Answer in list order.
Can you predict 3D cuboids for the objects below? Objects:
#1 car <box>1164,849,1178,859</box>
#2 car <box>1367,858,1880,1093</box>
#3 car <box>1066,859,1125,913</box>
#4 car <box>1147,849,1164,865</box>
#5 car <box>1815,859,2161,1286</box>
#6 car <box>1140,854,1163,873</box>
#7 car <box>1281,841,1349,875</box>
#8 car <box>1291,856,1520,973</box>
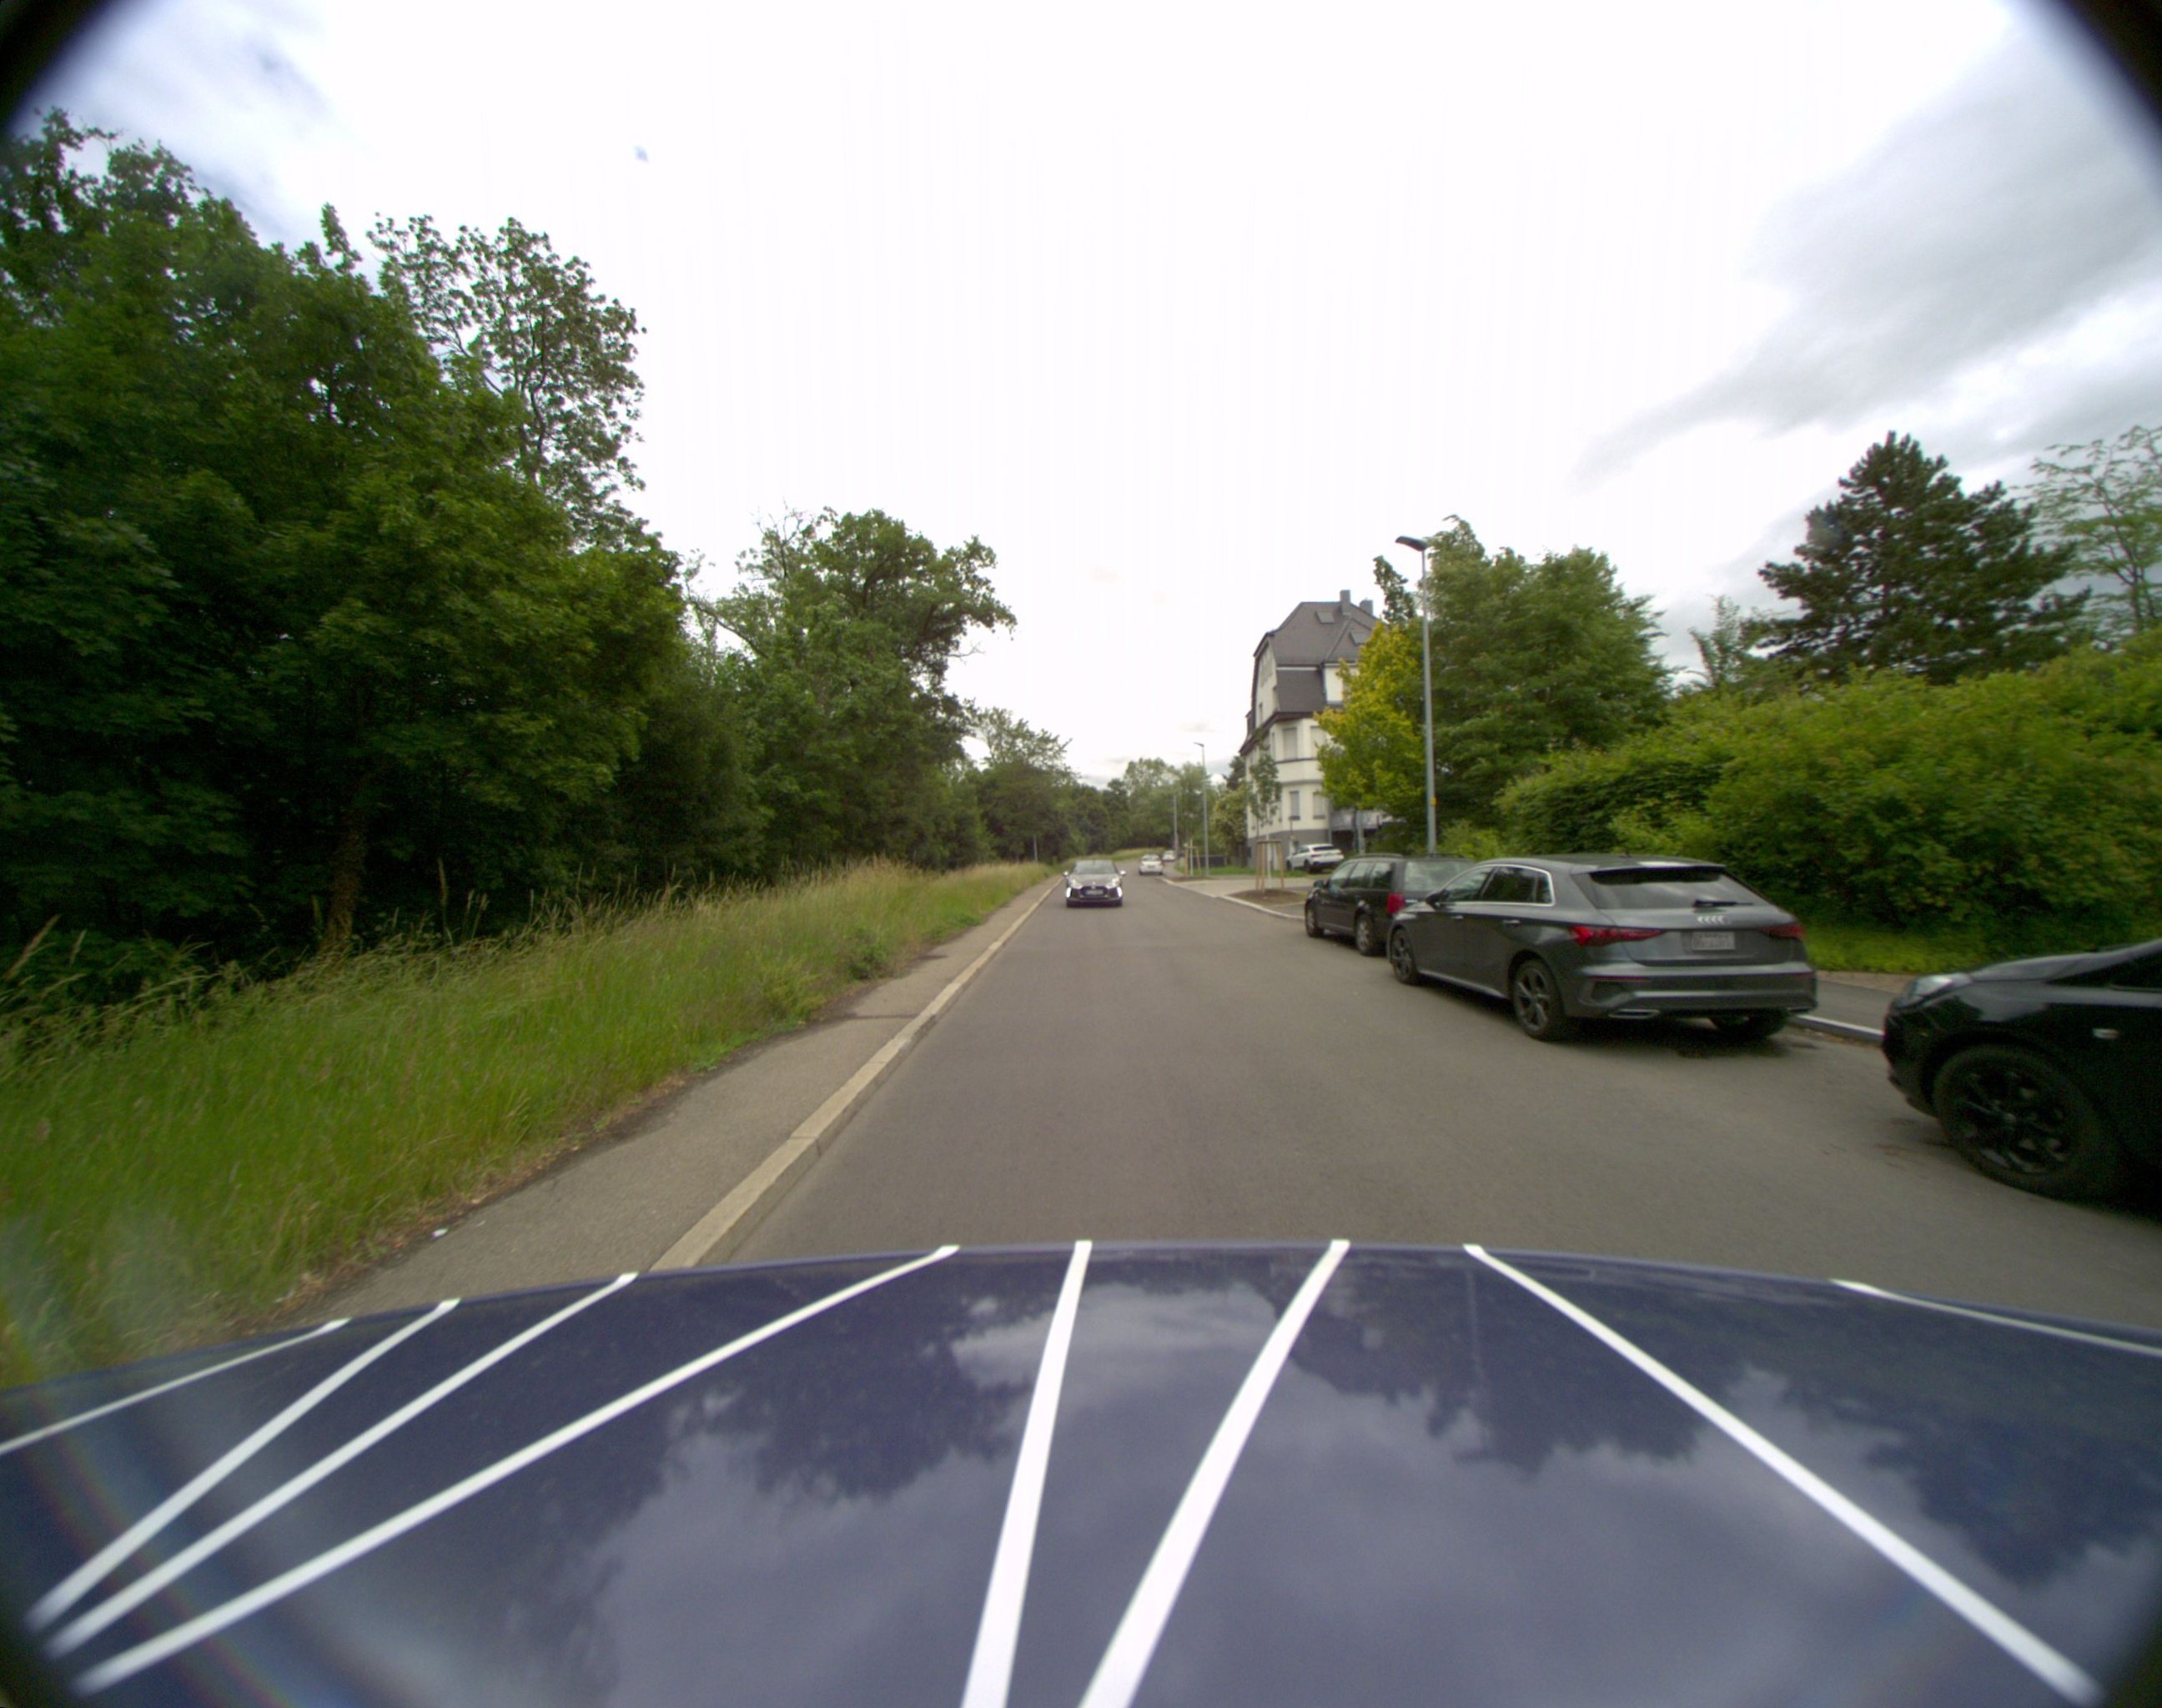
[{"bbox_3d":[13.099,-0.052,110.457,1.735,1.420,3.460,0,1,12],"label":"car"},{"bbox_3d":[4.354,0.805,7.163,1.710,1.473,4.496,-1,0,1],"label":"car"},{"bbox_3d":[0.522,0.916,23.254,1.619,1.460,4.001,-1,0,3],"label":"car"},{"bbox_3d":[8.547,0.307,87.220,1.799,1.790,4.066,0,1,8],"label":"car"},{"bbox_3d":[4.598,0.774,1.937,1.628,1.473,4.000,-1,0,1],"label":"car"},{"bbox_3d":[5.444,0.725,59.054,1.646,1.461,4.072,0,0,3],"label":"car"},{"bbox_3d":[12.452,0.159,40.742,1.911,1.524,4.594,-4,2,-4],"label":"car"},{"bbox_3d":[4.823,0.789,12.128,1.687,1.473,4.693,-1,0,1],"label":"car"}]
